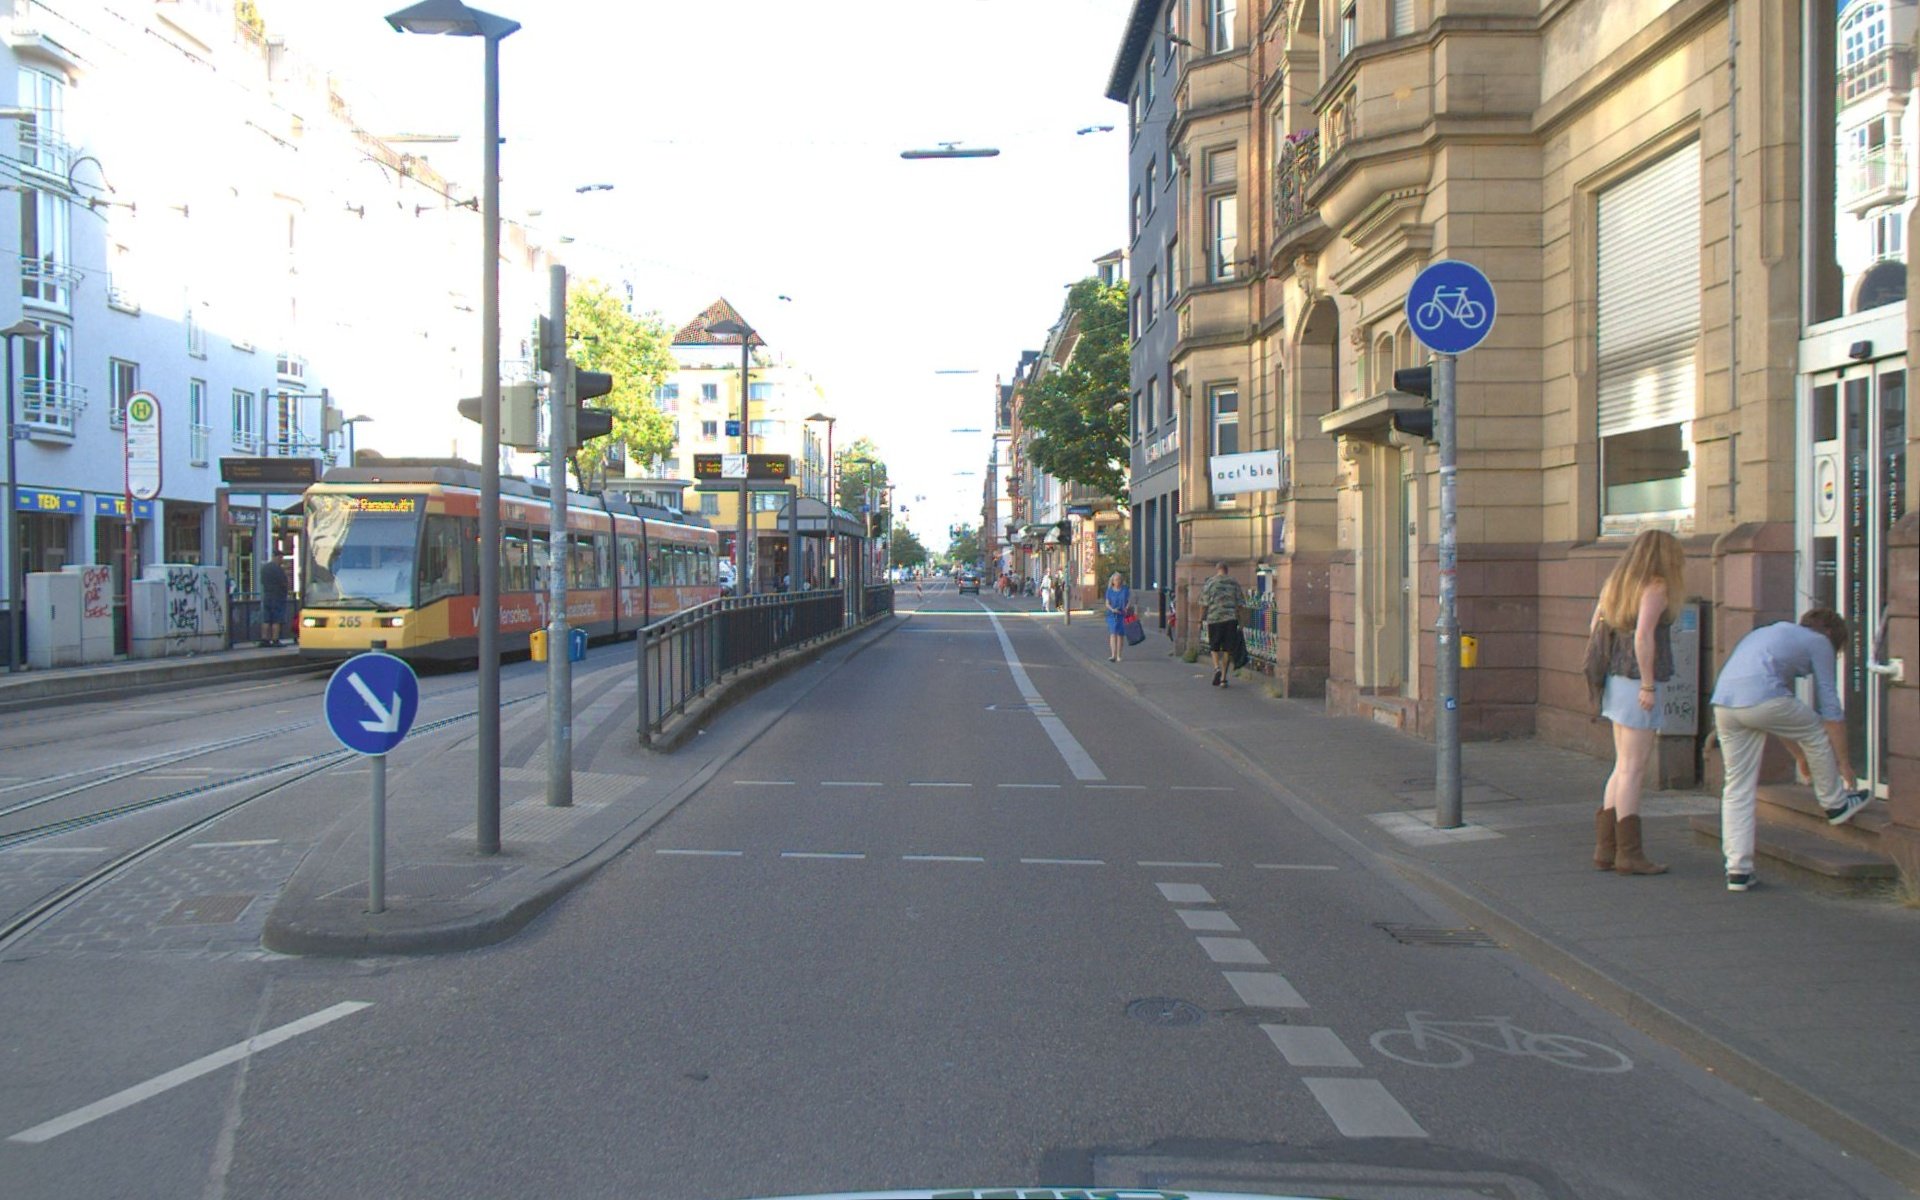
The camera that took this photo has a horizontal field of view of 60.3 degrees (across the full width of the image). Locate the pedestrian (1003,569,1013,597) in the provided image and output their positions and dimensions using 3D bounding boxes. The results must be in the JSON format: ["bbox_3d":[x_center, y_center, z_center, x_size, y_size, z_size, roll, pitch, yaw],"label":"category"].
[{"bbox_3d":[3.128,-1.096,108.107,0.548,1.827,0.651,-1,2,6],"label":"pedestrian"}]

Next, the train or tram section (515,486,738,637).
[{"bbox_3d":[-8.914,-1.158,46.706,2.825,3.550,14.956,-1,2,1],"label":"train or tram section"}]

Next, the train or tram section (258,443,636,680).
[{"bbox_3d":[-9.144,-0.813,32.101,2.826,3.550,14.170,-1,2,0],"label":"train or tram section"}]

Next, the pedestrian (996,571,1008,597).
[{"bbox_3d":[3.231,-1.234,127.301,0.826,1.951,0.661,-1,2,-2],"label":"pedestrian"}]

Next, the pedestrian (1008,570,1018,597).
[{"bbox_3d":[3.542,-1.106,111.156,0.635,1.827,0.562,-1,2,4],"label":"pedestrian"}]

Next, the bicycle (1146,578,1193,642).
[{"bbox_3d":[4.438,0.201,35.141,0.611,1.218,1.908,-4,3,-1],"label":"bicycle"}]

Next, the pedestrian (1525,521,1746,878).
[{"bbox_3d":[3.514,0.491,8.659,0.778,1.751,0.719,-3,1,-2],"label":"pedestrian"}]

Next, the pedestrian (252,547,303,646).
[{"bbox_3d":[-12.020,-0.071,29.127,0.586,1.721,0.613,-1,1,0],"label":"pedestrian"}]

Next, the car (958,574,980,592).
[{"bbox_3d":[0.775,-1.492,146.054,1.953,1.474,4.001,-1,2,0],"label":"car"}]

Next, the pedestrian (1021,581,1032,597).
[{"bbox_3d":[4.461,-0.737,111.290,0.676,1.061,0.681,-1,2,4],"label":"pedestrian"}]

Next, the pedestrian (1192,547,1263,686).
[{"bbox_3d":[3.748,0.219,23.209,0.784,1.855,0.797,-3,3,-1],"label":"pedestrian"}]

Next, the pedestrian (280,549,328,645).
[{"bbox_3d":[-12.312,-0.059,31.050,0.752,1.762,0.517,0,2,41],"label":"pedestrian"}]

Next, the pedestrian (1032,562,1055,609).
[{"bbox_3d":[3.327,-0.575,65.740,0.699,1.805,0.773,-4,3,-3],"label":"pedestrian"}]

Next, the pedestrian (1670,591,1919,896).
[{"bbox_3d":[4.004,0.658,7.982,0.778,1.354,0.719,-3,1,-2],"label":"pedestrian"}]

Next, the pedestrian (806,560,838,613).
[{"bbox_3d":[-3.255,-0.323,38.949,0.671,1.196,0.537,-1,2,1],"label":"pedestrian"}]

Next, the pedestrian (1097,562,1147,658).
[{"bbox_3d":[2.957,0.176,30.264,0.747,1.673,0.832,-3,3,-1],"label":"pedestrian"}]

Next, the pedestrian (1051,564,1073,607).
[{"bbox_3d":[4.050,-0.565,65.828,0.699,1.630,0.773,-4,3,-3],"label":"pedestrian"}]

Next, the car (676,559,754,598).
[{"bbox_3d":[-17.093,-1.493,115.562,5.000,2.620,2.129,-1,2,0],"label":"car"}]
